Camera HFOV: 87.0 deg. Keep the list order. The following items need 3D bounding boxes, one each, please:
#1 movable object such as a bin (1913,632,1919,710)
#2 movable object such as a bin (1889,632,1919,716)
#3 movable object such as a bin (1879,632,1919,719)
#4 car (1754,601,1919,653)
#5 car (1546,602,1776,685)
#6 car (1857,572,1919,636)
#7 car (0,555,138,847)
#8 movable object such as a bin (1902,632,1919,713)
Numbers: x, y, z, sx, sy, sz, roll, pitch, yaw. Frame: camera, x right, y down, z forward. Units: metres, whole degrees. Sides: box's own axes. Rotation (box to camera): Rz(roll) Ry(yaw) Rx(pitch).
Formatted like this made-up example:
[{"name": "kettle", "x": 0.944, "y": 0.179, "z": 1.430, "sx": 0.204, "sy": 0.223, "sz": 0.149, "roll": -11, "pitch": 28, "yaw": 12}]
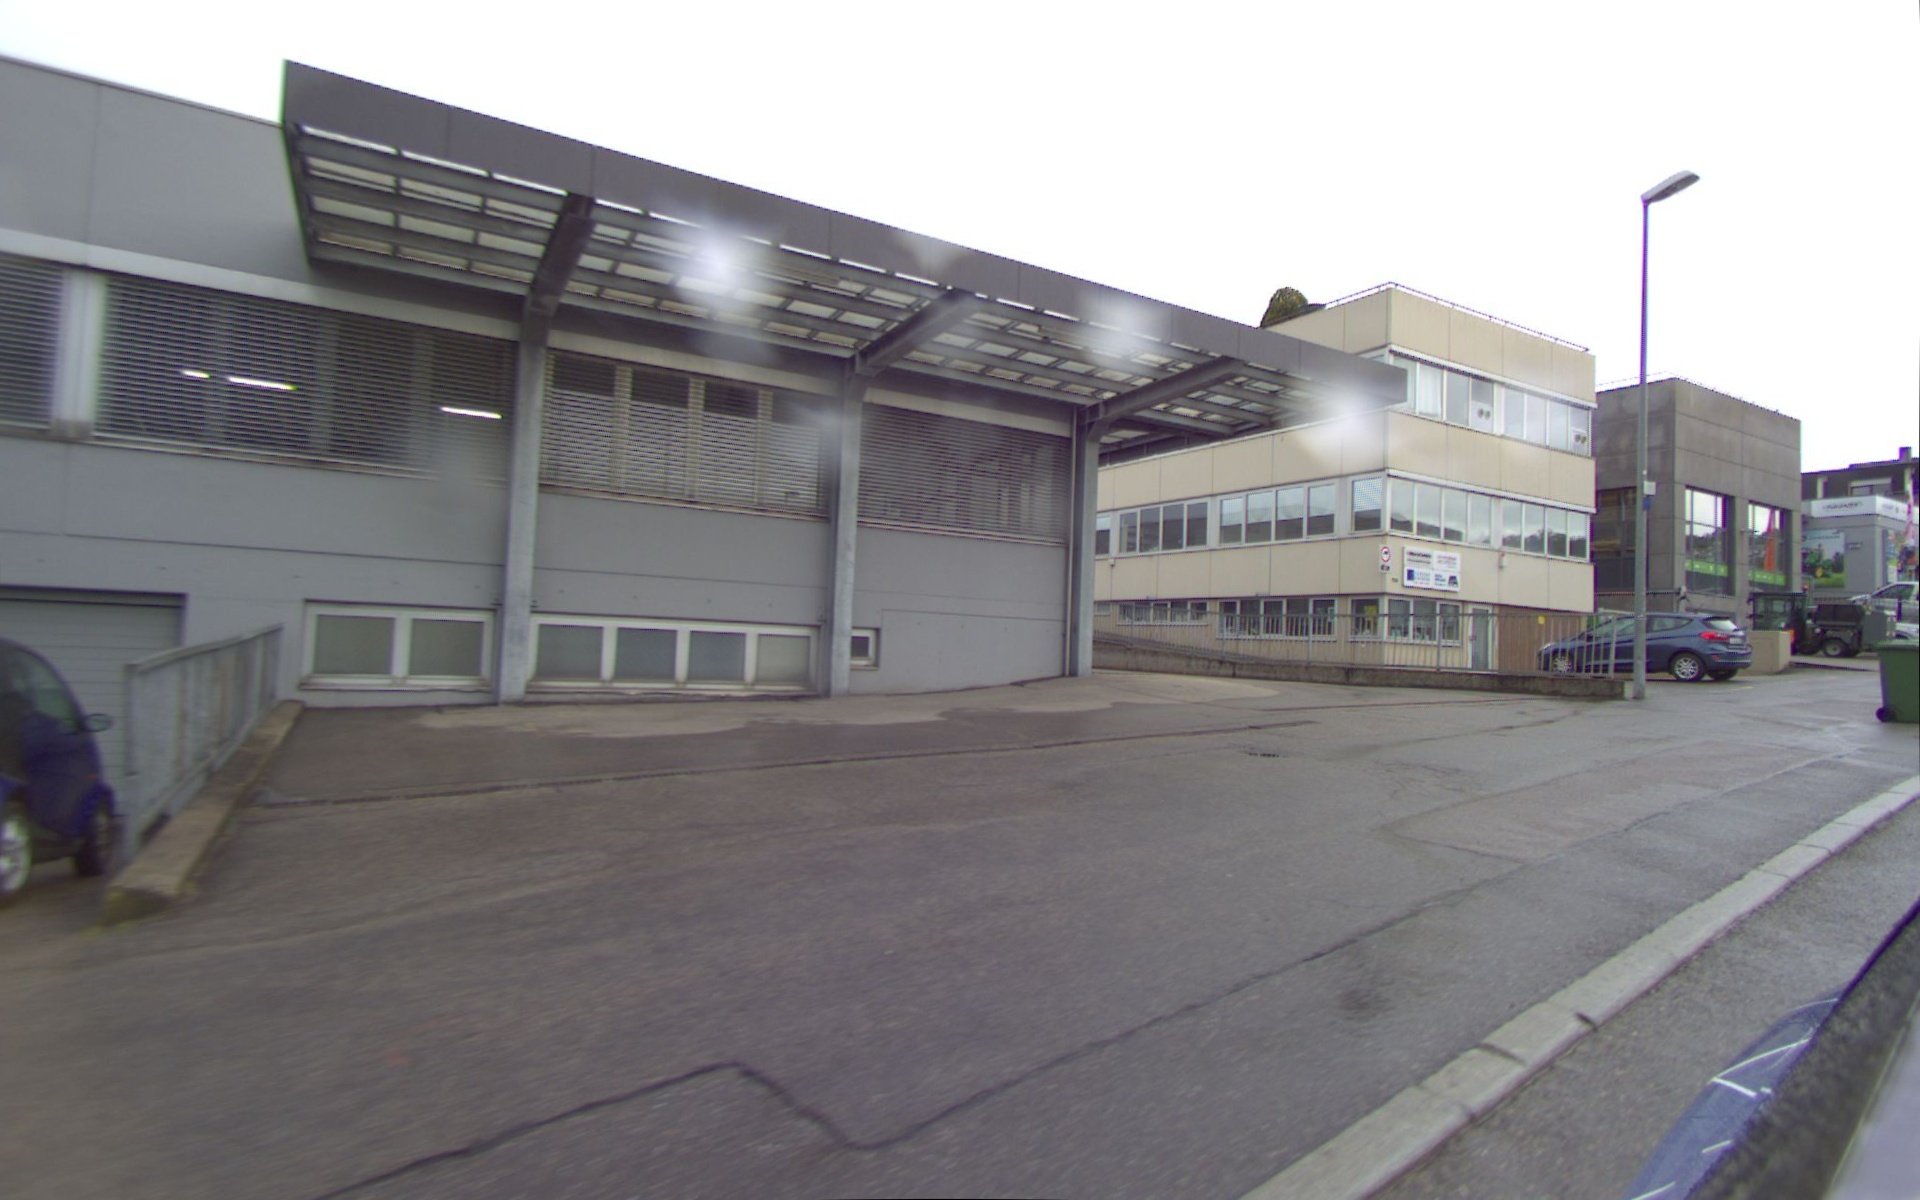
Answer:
[{"name": "movable object such as a bin", "x": 14.105, "y": 1.028, "z": 14.381, "sx": 0.583, "sy": 1.104, "sz": 0.736, "roll": 1, "pitch": -1, "yaw": -37}, {"name": "movable object such as a bin", "x": 13.100, "y": 1.003, "z": 13.652, "sx": 0.583, "sy": 1.104, "sz": 0.736, "roll": 1, "pitch": -1, "yaw": -37}, {"name": "movable object such as a bin", "x": 12.621, "y": 0.986, "z": 13.284, "sx": 0.583, "sy": 1.104, "sz": 0.736, "roll": 1, "pitch": -1, "yaw": -37}, {"name": "car", "x": 28.057, "y": 0.801, "z": 31.736, "sx": 1.902, "sy": 1.516, "sz": 4.630, "roll": 1, "pitch": 0, "yaw": -31}, {"name": "car", "x": 15.042, "y": 0.872, "z": 21.889, "sx": 1.599, "sy": 1.559, "sz": 3.754, "roll": 2, "pitch": 0, "yaw": -33}, {"name": "car", "x": 36.210, "y": 0.156, "z": 36.647, "sx": 2.158, "sy": 2.323, "sz": 5.162, "roll": 1, "pitch": 0, "yaw": -29}, {"name": "car", "x": -6.506, "y": 0.755, "z": 6.348, "sx": 1.586, "sy": 1.520, "sz": 3.444, "roll": 2, "pitch": -9, "yaw": -31}, {"name": "movable object such as a bin", "x": 13.593, "y": 1.016, "z": 14.005, "sx": 0.583, "sy": 1.104, "sz": 0.736, "roll": 1, "pitch": -1, "yaw": -37}]
